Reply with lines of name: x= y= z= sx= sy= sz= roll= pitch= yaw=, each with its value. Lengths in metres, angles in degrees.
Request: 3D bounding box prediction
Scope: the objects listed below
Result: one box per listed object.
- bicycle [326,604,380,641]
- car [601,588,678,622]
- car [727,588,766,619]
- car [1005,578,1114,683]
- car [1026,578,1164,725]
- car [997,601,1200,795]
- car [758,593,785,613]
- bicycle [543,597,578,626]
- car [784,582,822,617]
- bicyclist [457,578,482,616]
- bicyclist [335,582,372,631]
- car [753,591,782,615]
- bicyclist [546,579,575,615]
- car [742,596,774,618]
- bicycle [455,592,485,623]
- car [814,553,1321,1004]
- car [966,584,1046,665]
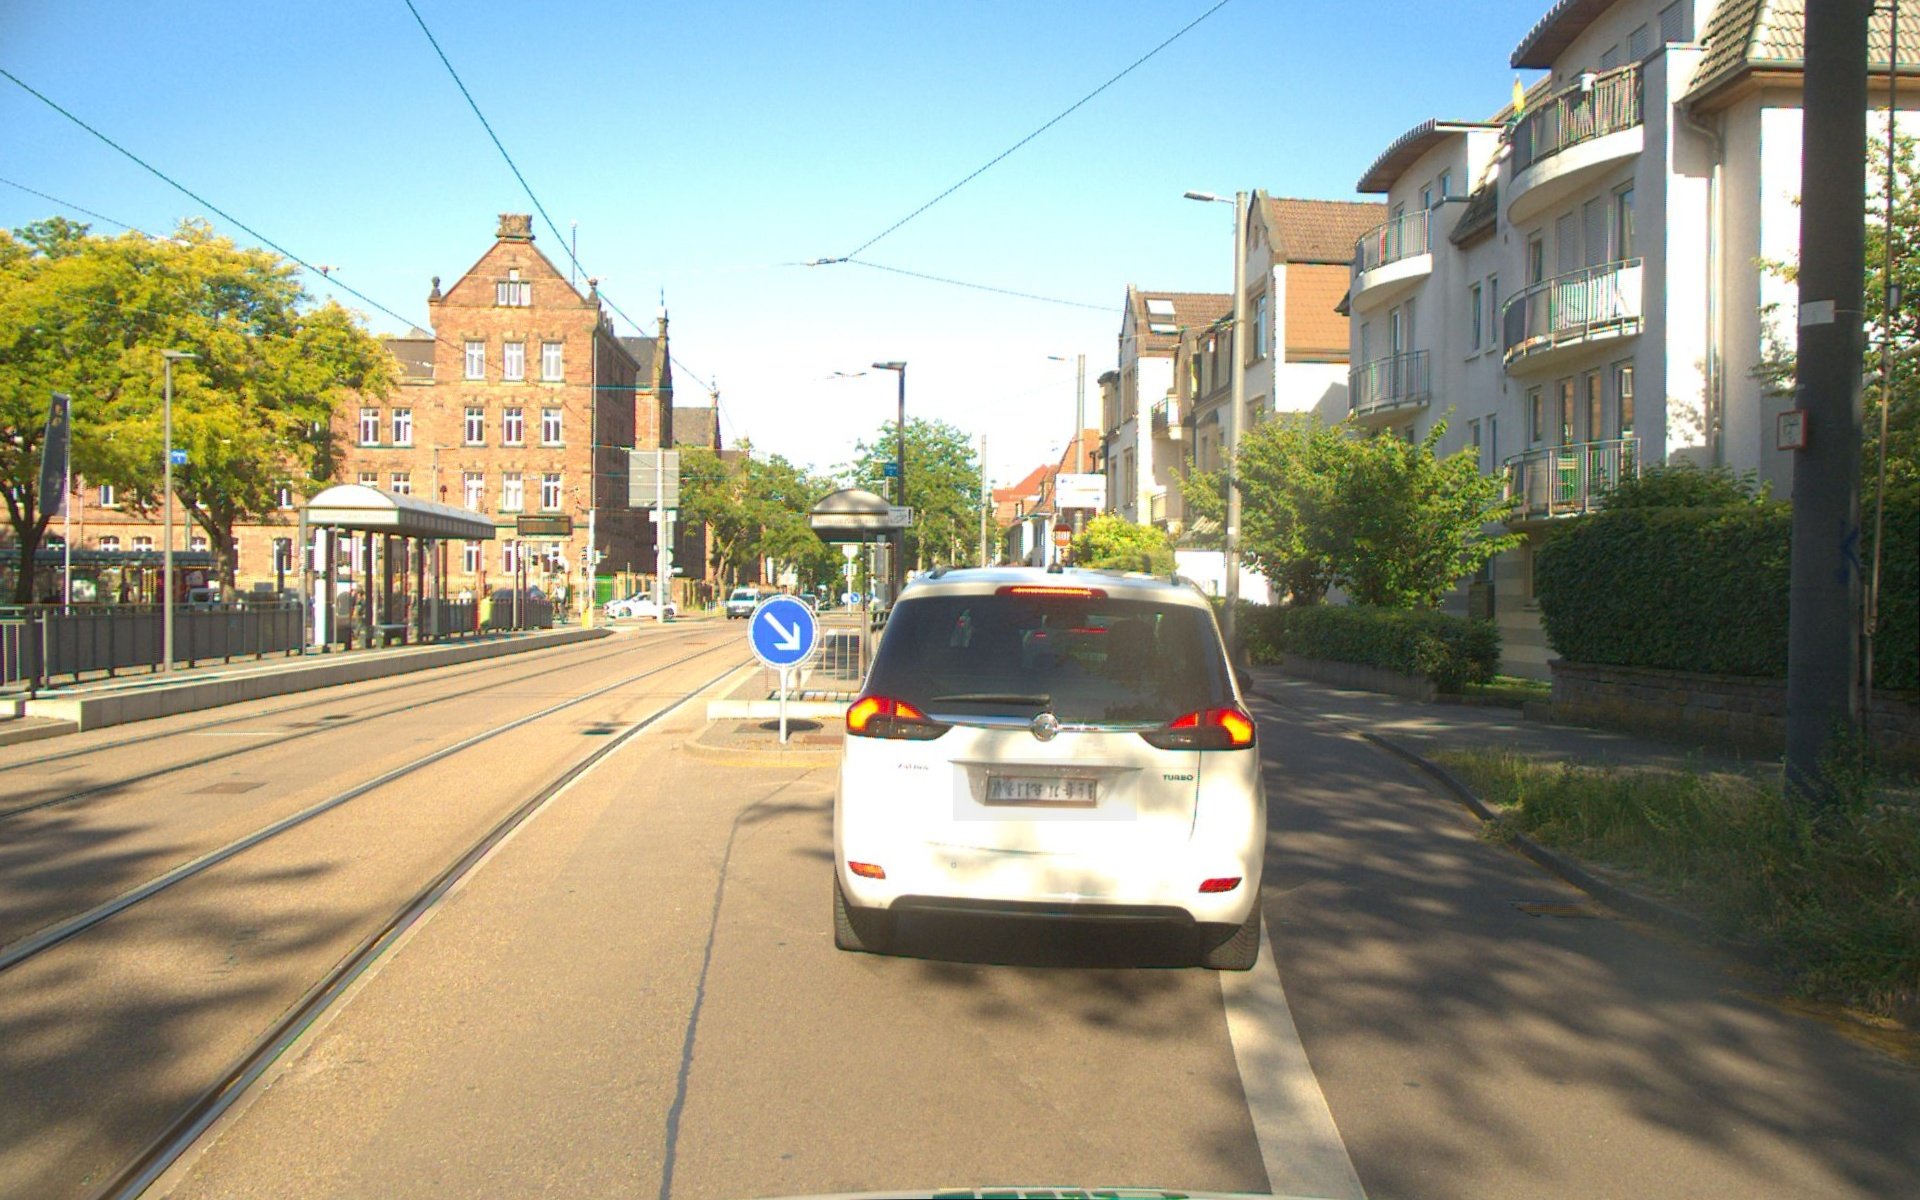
bicycle: x=-18.719 y=0.694 z=51.045 sx=0.670 sy=1.108 sz=2.065 roll=0 pitch=0 yaw=7
car: x=-18.078 y=0.270 z=93.329 sx=3.952 sy=1.841 sz=1.684 roll=0 pitch=0 yaw=-34
car: x=-12.901 y=0.211 z=100.147 sx=1.789 sy=1.819 sz=4.255 roll=0 pitch=0 yaw=0
car: x=1.689 y=0.489 z=29.186 sx=1.563 sy=1.663 sz=3.900 roll=2 pitch=0 yaw=-1
car: x=1.718 y=0.588 z=21.049 sx=1.536 sy=1.643 sz=3.786 roll=2 pitch=0 yaw=5
car: x=1.230 y=0.761 z=14.790 sx=1.536 sy=1.426 sz=3.786 roll=2 pitch=0 yaw=5
car: x=-14.450 y=0.216 z=126.743 sx=1.791 sy=1.471 sz=4.324 roll=1 pitch=-1 yaw=-3
bicycle: x=-17.711 y=0.501 z=73.428 sx=0.760 sy=1.252 sz=2.090 roll=0 pitch=0 yaw=9
car: x=-9.521 y=-0.021 z=100.456 sx=1.953 sy=2.049 sz=3.999 roll=0 pitch=0 yaw=-1
bicyclist: x=-19.585 y=-0.124 z=66.083 sx=0.742 sy=1.496 sz=1.189 roll=0 pitch=0 yaw=-6
bicyclist: x=-18.712 y=0.204 z=51.050 sx=0.639 sy=1.485 sz=1.153 roll=0 pitch=0 yaw=6
car: x=-13.816 y=0.209 z=119.066 sx=1.791 sy=1.645 sz=4.324 roll=1 pitch=-1 yaw=-3
bicyclist: x=-17.718 y=-0.118 z=73.341 sx=0.744 sy=1.563 sz=1.349 roll=0 pitch=0 yaw=10
car: x=-13.402 y=0.440 z=109.865 sx=1.762 sy=1.406 sz=4.492 roll=0 pitch=1 yaw=-3
bicycle: x=-19.590 y=0.287 z=66.136 sx=0.799 sy=1.219 sz=1.950 roll=0 pitch=0 yaw=-6
car: x=0.550 y=0.638 z=8.088 sx=1.838 sy=1.613 sz=4.002 roll=1 pitch=0 yaw=5
car: x=0.989 y=0.506 z=37.325 sx=1.563 sy=1.663 sz=3.901 roll=2 pitch=1 yaw=-1
